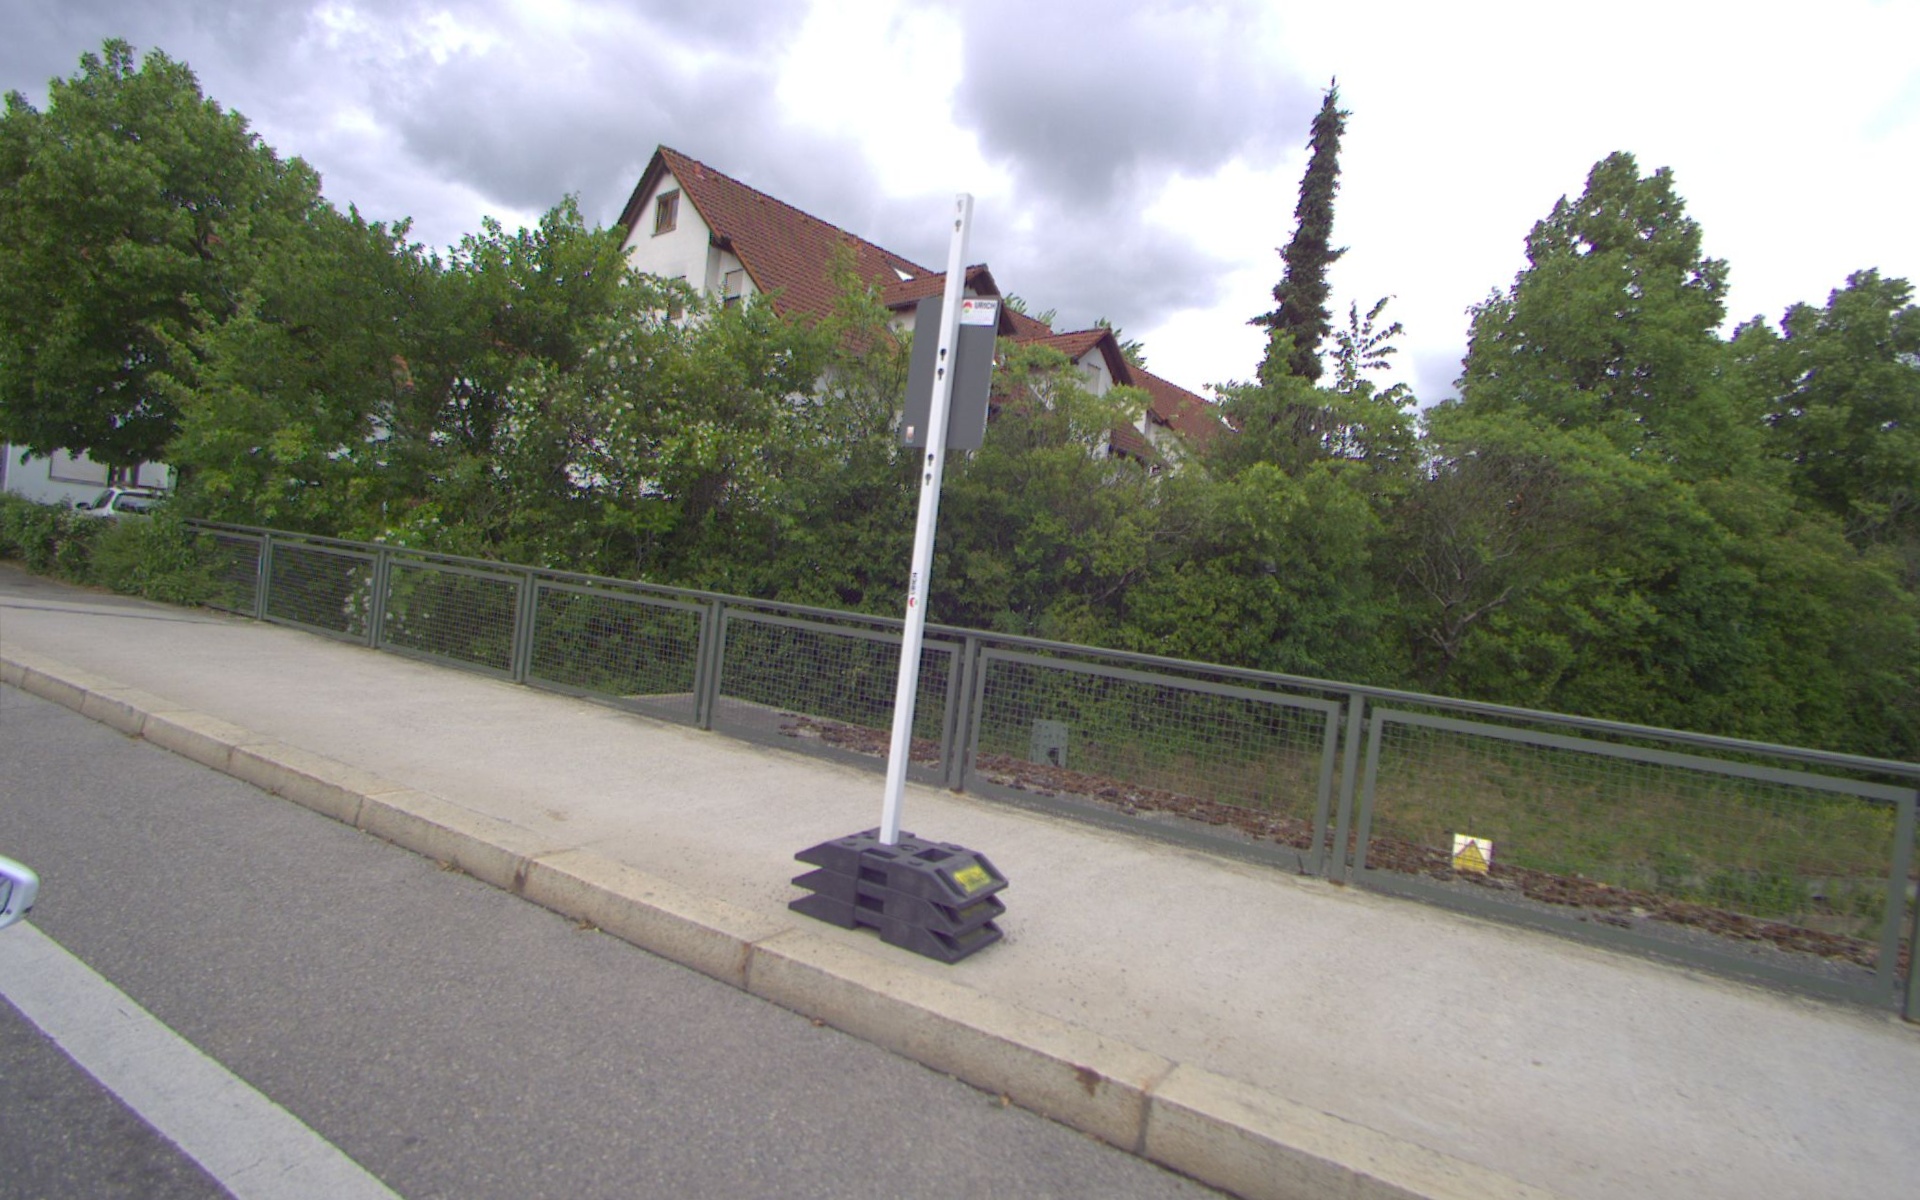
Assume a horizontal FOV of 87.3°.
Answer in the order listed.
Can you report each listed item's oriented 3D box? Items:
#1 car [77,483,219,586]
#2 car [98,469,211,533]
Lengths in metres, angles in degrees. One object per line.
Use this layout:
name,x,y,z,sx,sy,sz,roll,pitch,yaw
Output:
car,-15.854,-1.316,19.571,1.666,1.523,4.006,7,2,-45
car,-22.881,-2.829,28.525,3.941,1.468,1.665,7,1,39
